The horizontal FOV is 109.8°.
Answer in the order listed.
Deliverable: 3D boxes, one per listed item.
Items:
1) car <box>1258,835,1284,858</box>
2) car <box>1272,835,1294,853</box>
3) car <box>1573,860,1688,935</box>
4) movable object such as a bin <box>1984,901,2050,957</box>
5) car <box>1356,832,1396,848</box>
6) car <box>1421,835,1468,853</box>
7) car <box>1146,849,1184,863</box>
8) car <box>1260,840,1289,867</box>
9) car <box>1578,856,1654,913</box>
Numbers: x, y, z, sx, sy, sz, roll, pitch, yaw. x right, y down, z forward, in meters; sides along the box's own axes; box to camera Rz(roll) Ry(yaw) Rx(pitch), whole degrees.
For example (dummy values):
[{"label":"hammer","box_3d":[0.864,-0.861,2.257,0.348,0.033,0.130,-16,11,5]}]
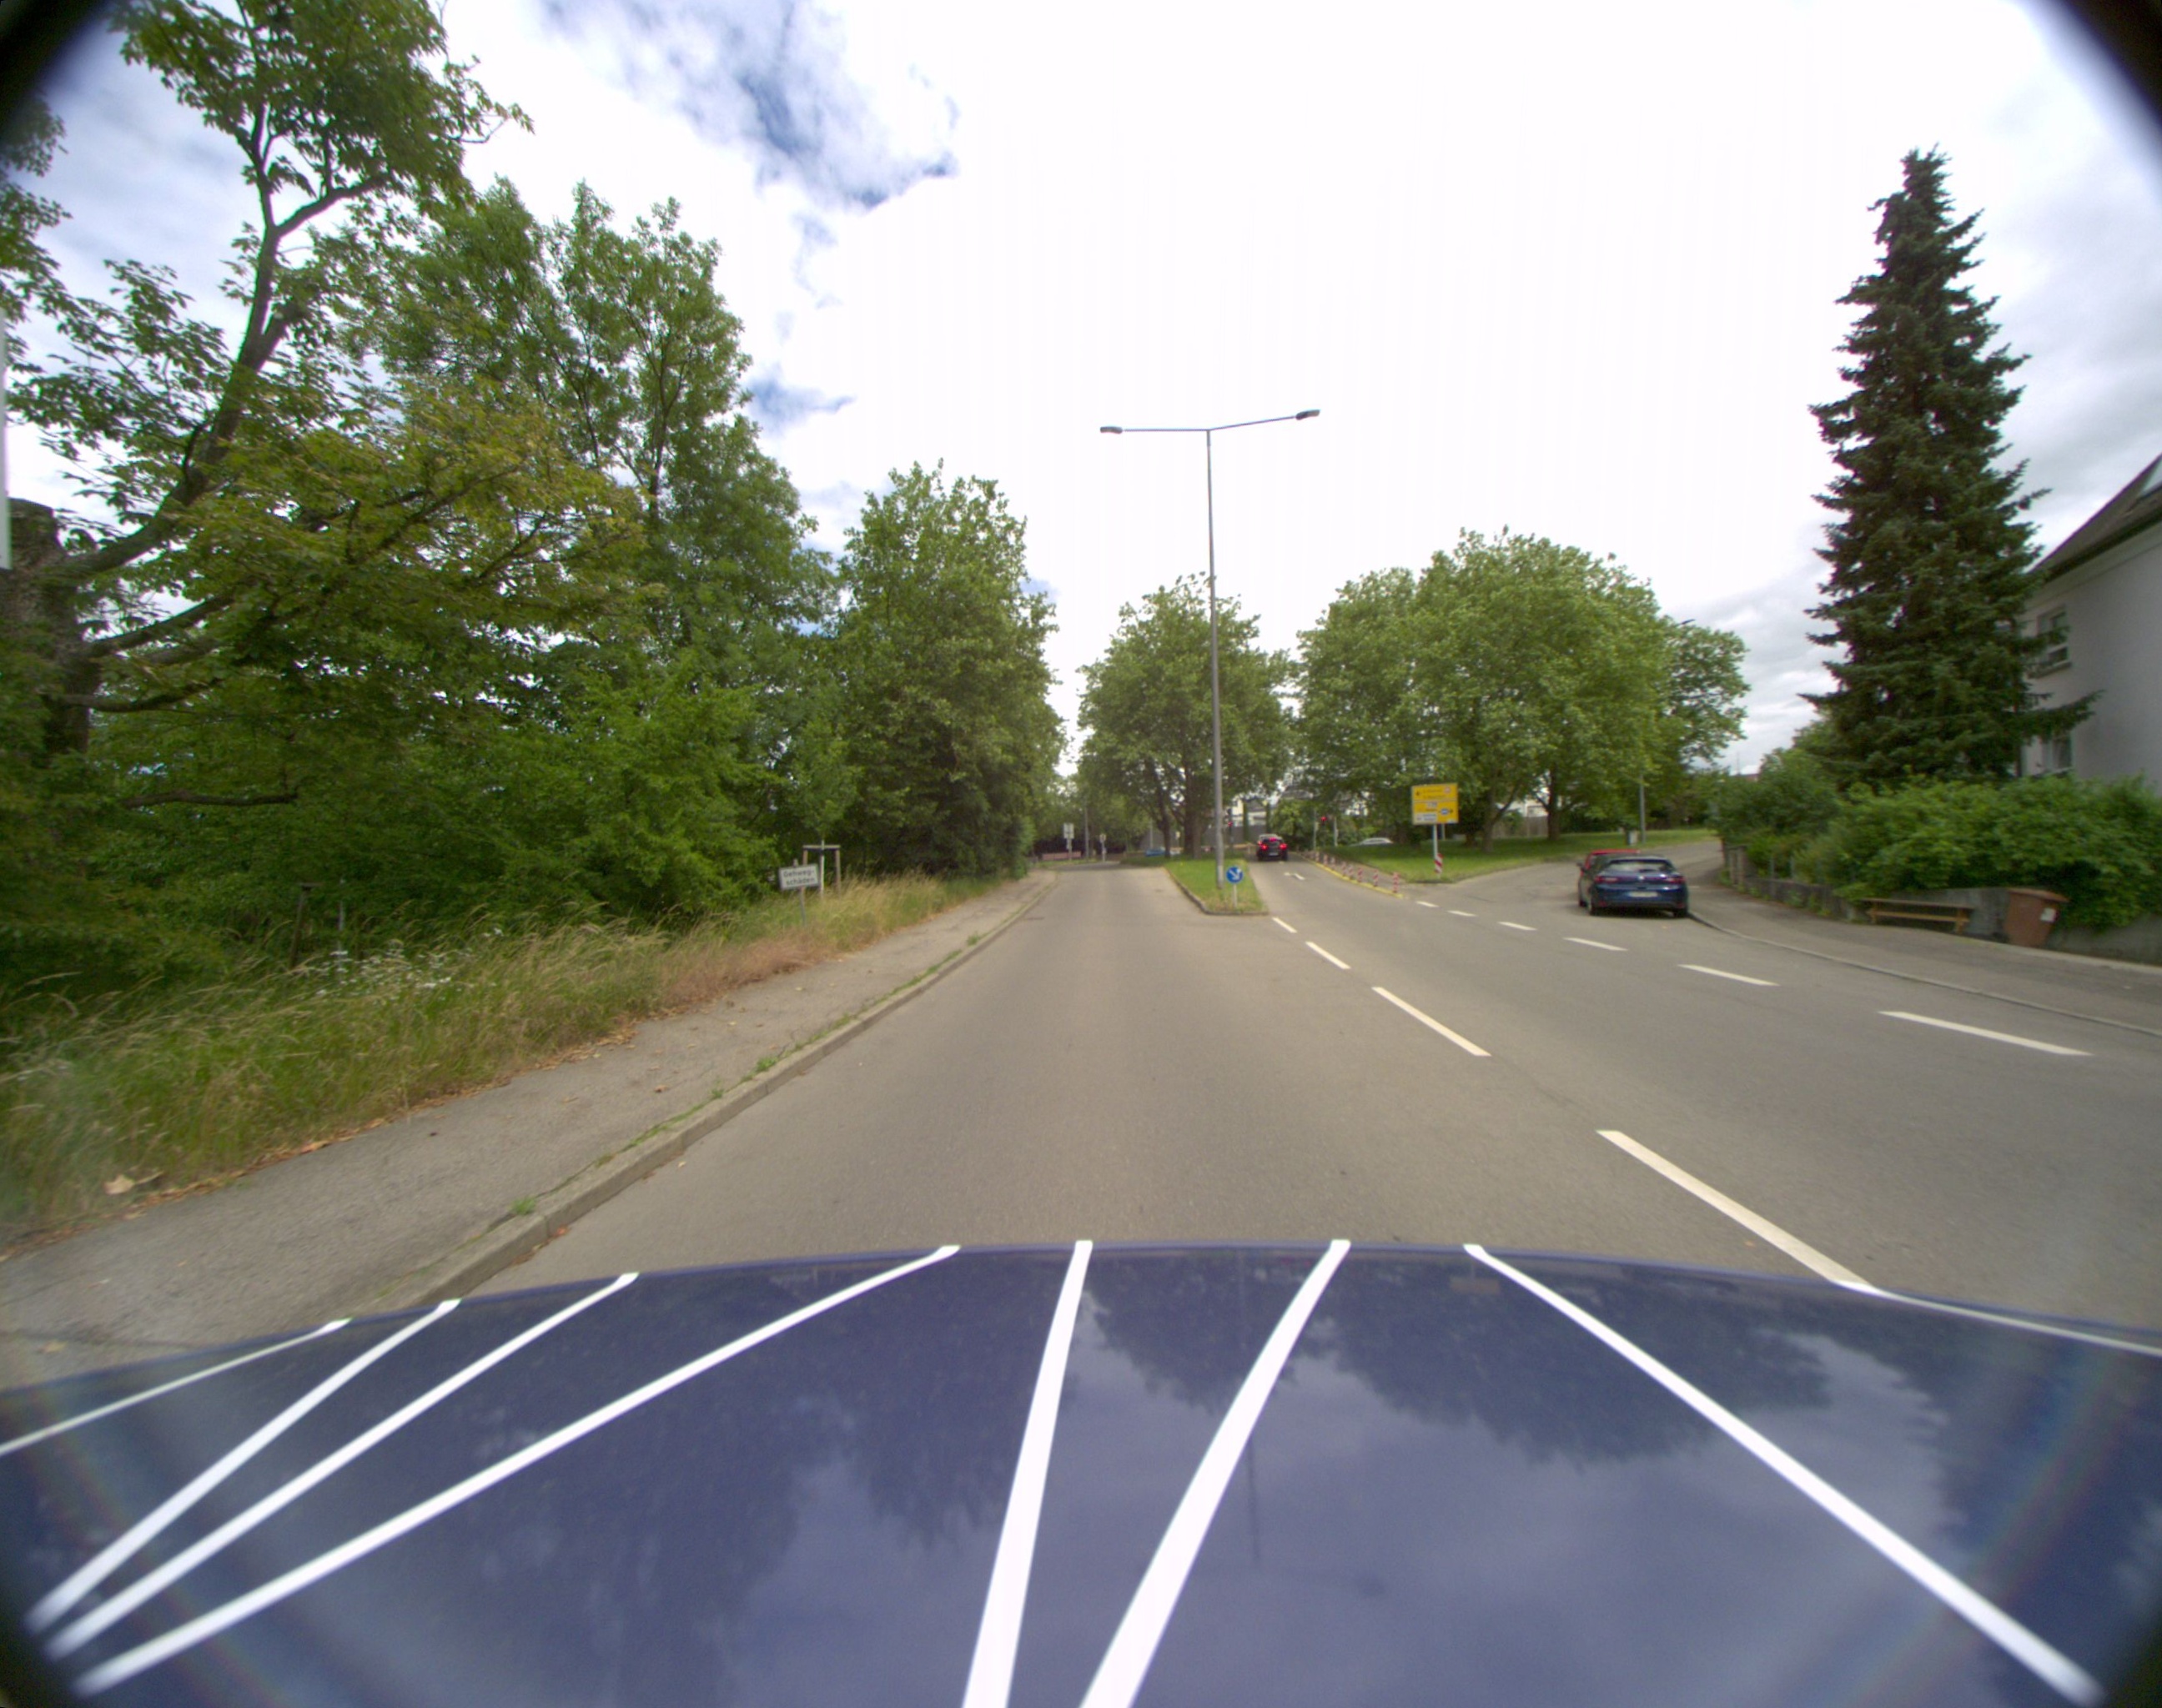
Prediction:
[{"label":"car","box_3d":[15.549,-0.572,62.332,1.854,1.648,4.912,-2,-2,12]},{"label":"car","box_3d":[18.536,-0.936,69.856,1.760,1.508,4.390,-2,1,12]},{"label":"car","box_3d":[13.141,0.956,18.414,1.728,1.465,4.322,-1,1,29]},{"label":"movable object such as a bin","box_3d":[14.878,1.179,12.084,0.317,0.830,0.588,-1,0,2]},{"label":"car","box_3d":[31.001,-1.446,79.977,3.637,1.520,1.654,-1,-1,33]},{"label":"car","box_3d":[33.081,-0.938,69.170,3.636,1.515,1.654,1,0,33]},{"label":"car","box_3d":[9.780,0.233,88.686,4.136,1.419,1.802,-3,-4,42]},{"label":"car","box_3d":[13.422,-0.056,52.917,1.760,1.583,4.615,-2,2,12]},{"label":"car","box_3d":[16.264,0.854,23.225,1.728,1.465,4.287,-1,1,34]}]
